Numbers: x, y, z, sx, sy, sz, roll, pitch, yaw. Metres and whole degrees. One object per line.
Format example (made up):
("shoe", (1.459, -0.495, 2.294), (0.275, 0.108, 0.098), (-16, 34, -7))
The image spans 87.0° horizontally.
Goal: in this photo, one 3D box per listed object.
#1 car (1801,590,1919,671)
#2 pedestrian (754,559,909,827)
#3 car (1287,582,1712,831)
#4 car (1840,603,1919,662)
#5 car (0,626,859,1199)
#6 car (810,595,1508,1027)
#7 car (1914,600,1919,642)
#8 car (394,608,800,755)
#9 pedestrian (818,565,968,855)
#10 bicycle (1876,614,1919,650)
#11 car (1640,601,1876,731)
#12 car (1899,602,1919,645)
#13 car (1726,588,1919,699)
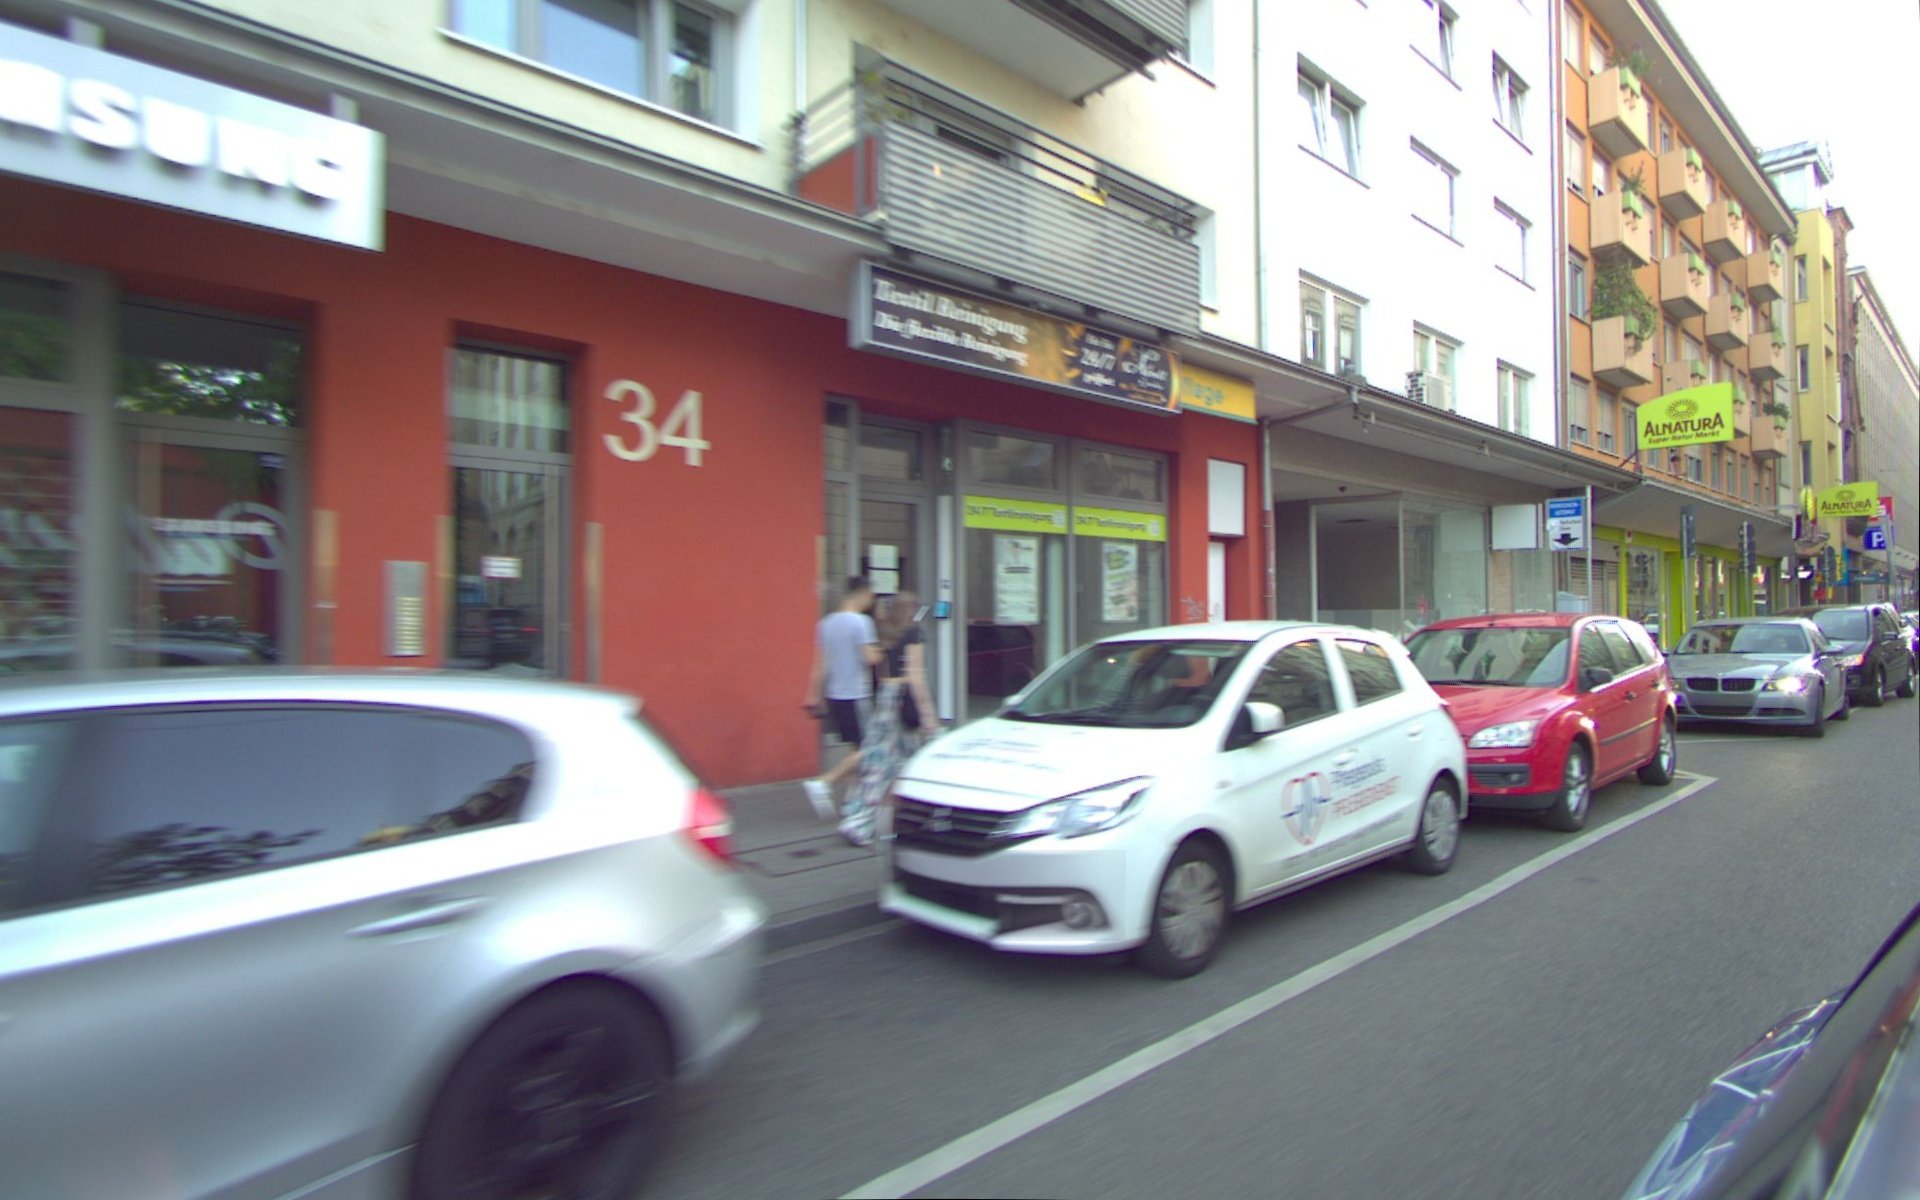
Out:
("car", (21.032, 0.700, 23.328), (4.673, 1.690, 1.754), (1, -3, -41))
("pedestrian", (-0.874, 0.579, 6.869), (0.779, 1.682, 0.649), (1, 2, -40))
("car", (4.692, 0.717, 8.443), (4.573, 1.532, 1.713), (1, -4, -43))
("car", (24.676, 0.839, 26.574), (4.673, 1.433, 1.693), (1, -3, -41))
("car", (-2.474, 0.830, 2.138), (4.384, 1.471, 1.699), (1, -4, -44))
("car", (1.312, 0.803, 5.539), (3.977, 1.532, 1.608), (1, -3, -41))
("car", (37.716, 0.762, 38.573), (4.103, 1.536, 1.619), (1, -4, -43))
("car", (-3.945, 0.773, 11.324), (3.928, 1.354, 1.743), (1, -1, -40))
("pedestrian", (-0.421, 0.633, 6.339), (0.643, 1.682, 0.649), (1, 2, -40))
("bicycle", (29.526, 0.986, 31.253), (1.708, 1.069, 0.658), (-1, -2, 8))
("car", (10.646, 0.792, 13.368), (4.603, 1.434, 1.737), (1, -4, -43))
("car", (33.950, 0.776, 35.158), (4.562, 1.430, 1.692), (1, -4, -45))
("car", (14.624, 0.691, 16.846), (4.403, 1.631, 1.798), (0, -3, -37))
